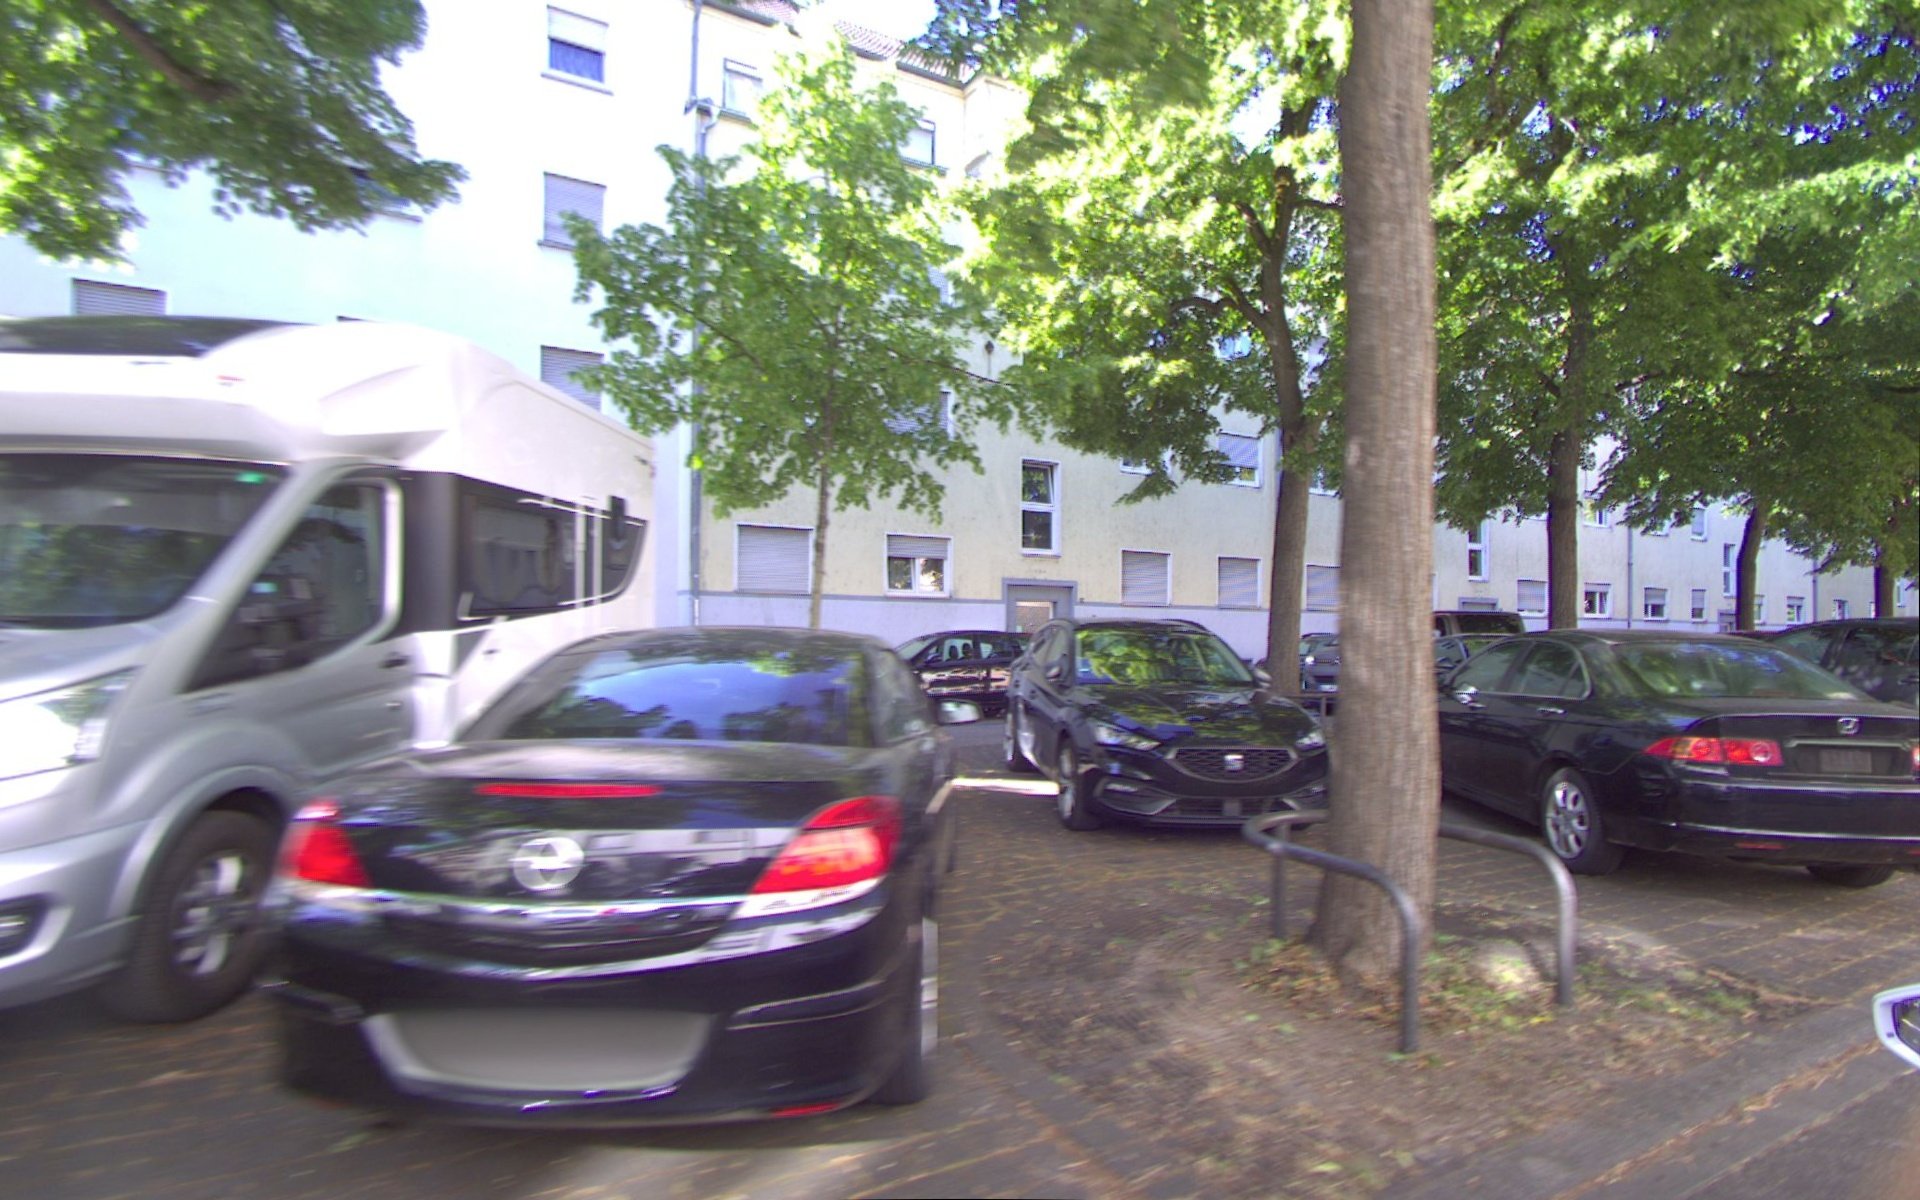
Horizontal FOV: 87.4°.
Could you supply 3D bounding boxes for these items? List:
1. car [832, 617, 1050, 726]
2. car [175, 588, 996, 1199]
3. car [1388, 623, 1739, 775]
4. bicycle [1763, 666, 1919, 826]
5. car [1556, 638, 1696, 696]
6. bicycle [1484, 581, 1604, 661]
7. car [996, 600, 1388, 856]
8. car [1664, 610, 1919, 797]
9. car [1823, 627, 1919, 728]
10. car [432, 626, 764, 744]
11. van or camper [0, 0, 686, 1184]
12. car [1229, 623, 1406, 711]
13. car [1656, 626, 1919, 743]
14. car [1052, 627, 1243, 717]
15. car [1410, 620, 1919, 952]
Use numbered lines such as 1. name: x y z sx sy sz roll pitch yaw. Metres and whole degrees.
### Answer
1. car: -0.290 1.183 17.395 3.562 1.699 1.466 1 -2 -33
2. car: -0.709 0.772 4.159 1.681 1.444 4.159 1 -1 2
3. car: 6.703 0.998 11.779 1.781 1.409 4.201 1 -1 4
4. bicycle: 7.029 1.091 7.726 1.650 1.145 0.428 1 -1 -14
5. car: 19.436 1.916 29.284 4.115 1.586 1.882 1 -3 -33
6. bicycle: 9.306 0.330 16.007 1.767 1.216 0.356 1 0 -7
7. car: 1.479 0.806 7.996 1.796 1.505 3.996 2 -1 -6
8. car: 9.507 0.964 10.121 1.827 1.675 4.088 1 0 -3
9. car: 15.480 1.205 14.664 1.726 1.506 4.628 1 0 -1
10. car: -5.157 1.129 14.519 4.257 1.418 1.635 1 1 -33
11. van or camper: -3.531 -0.021 5.521 2.360 2.862 6.306 1 0 -1
12. car: 7.878 1.435 22.070 3.796 1.776 1.692 1 -3 -33
13. car: 12.834 1.155 15.109 1.835 1.492 4.116 1 -1 -1
14. car: 3.672 1.351 19.546 3.540 1.596 1.608 1 -3 -33
15. car: 4.477 0.918 6.547 1.593 1.493 4.023 0 -2 5
